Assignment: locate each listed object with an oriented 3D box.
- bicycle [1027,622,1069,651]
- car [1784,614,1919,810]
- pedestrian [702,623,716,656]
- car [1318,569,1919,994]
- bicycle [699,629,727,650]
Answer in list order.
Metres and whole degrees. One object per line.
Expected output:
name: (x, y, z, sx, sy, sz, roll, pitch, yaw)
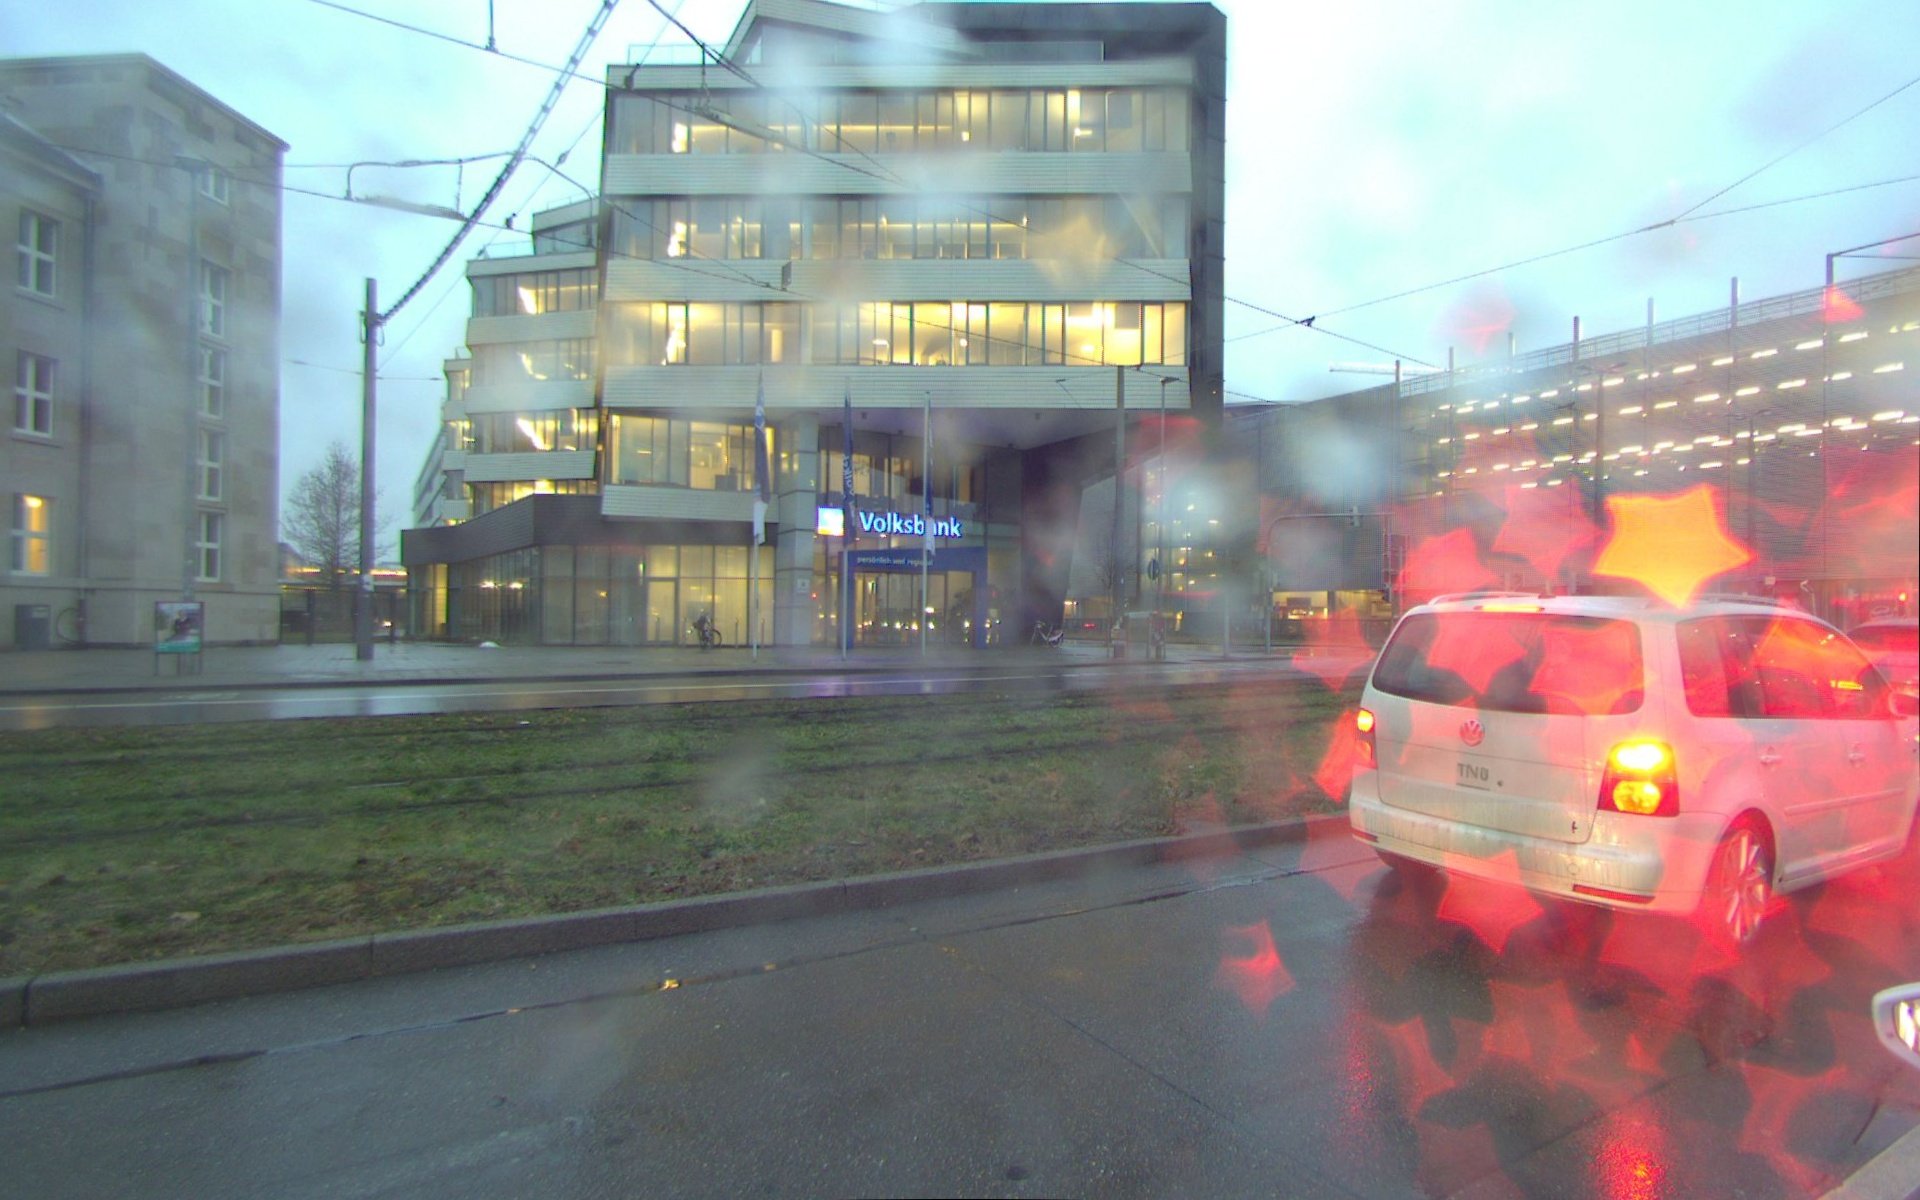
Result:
bicycle: (3.522, 1.455, 40.110, 1.588, 1.105, 0.553, 1, -1, -23)
car: (9.450, 0.955, 9.335, 3.959, 1.595, 1.742, 1, -1, -34)
pedestrian: (-8.589, 1.344, 34.361, 0.380, 1.103, 0.325, 0, -1, 5)
car: (4.102, 0.719, 5.785, 4.102, 1.682, 1.660, 1, 1, -33)
bicycle: (-8.622, 1.365, 35.067, 0.896, 0.724, 0.483, 1, -1, -10)
